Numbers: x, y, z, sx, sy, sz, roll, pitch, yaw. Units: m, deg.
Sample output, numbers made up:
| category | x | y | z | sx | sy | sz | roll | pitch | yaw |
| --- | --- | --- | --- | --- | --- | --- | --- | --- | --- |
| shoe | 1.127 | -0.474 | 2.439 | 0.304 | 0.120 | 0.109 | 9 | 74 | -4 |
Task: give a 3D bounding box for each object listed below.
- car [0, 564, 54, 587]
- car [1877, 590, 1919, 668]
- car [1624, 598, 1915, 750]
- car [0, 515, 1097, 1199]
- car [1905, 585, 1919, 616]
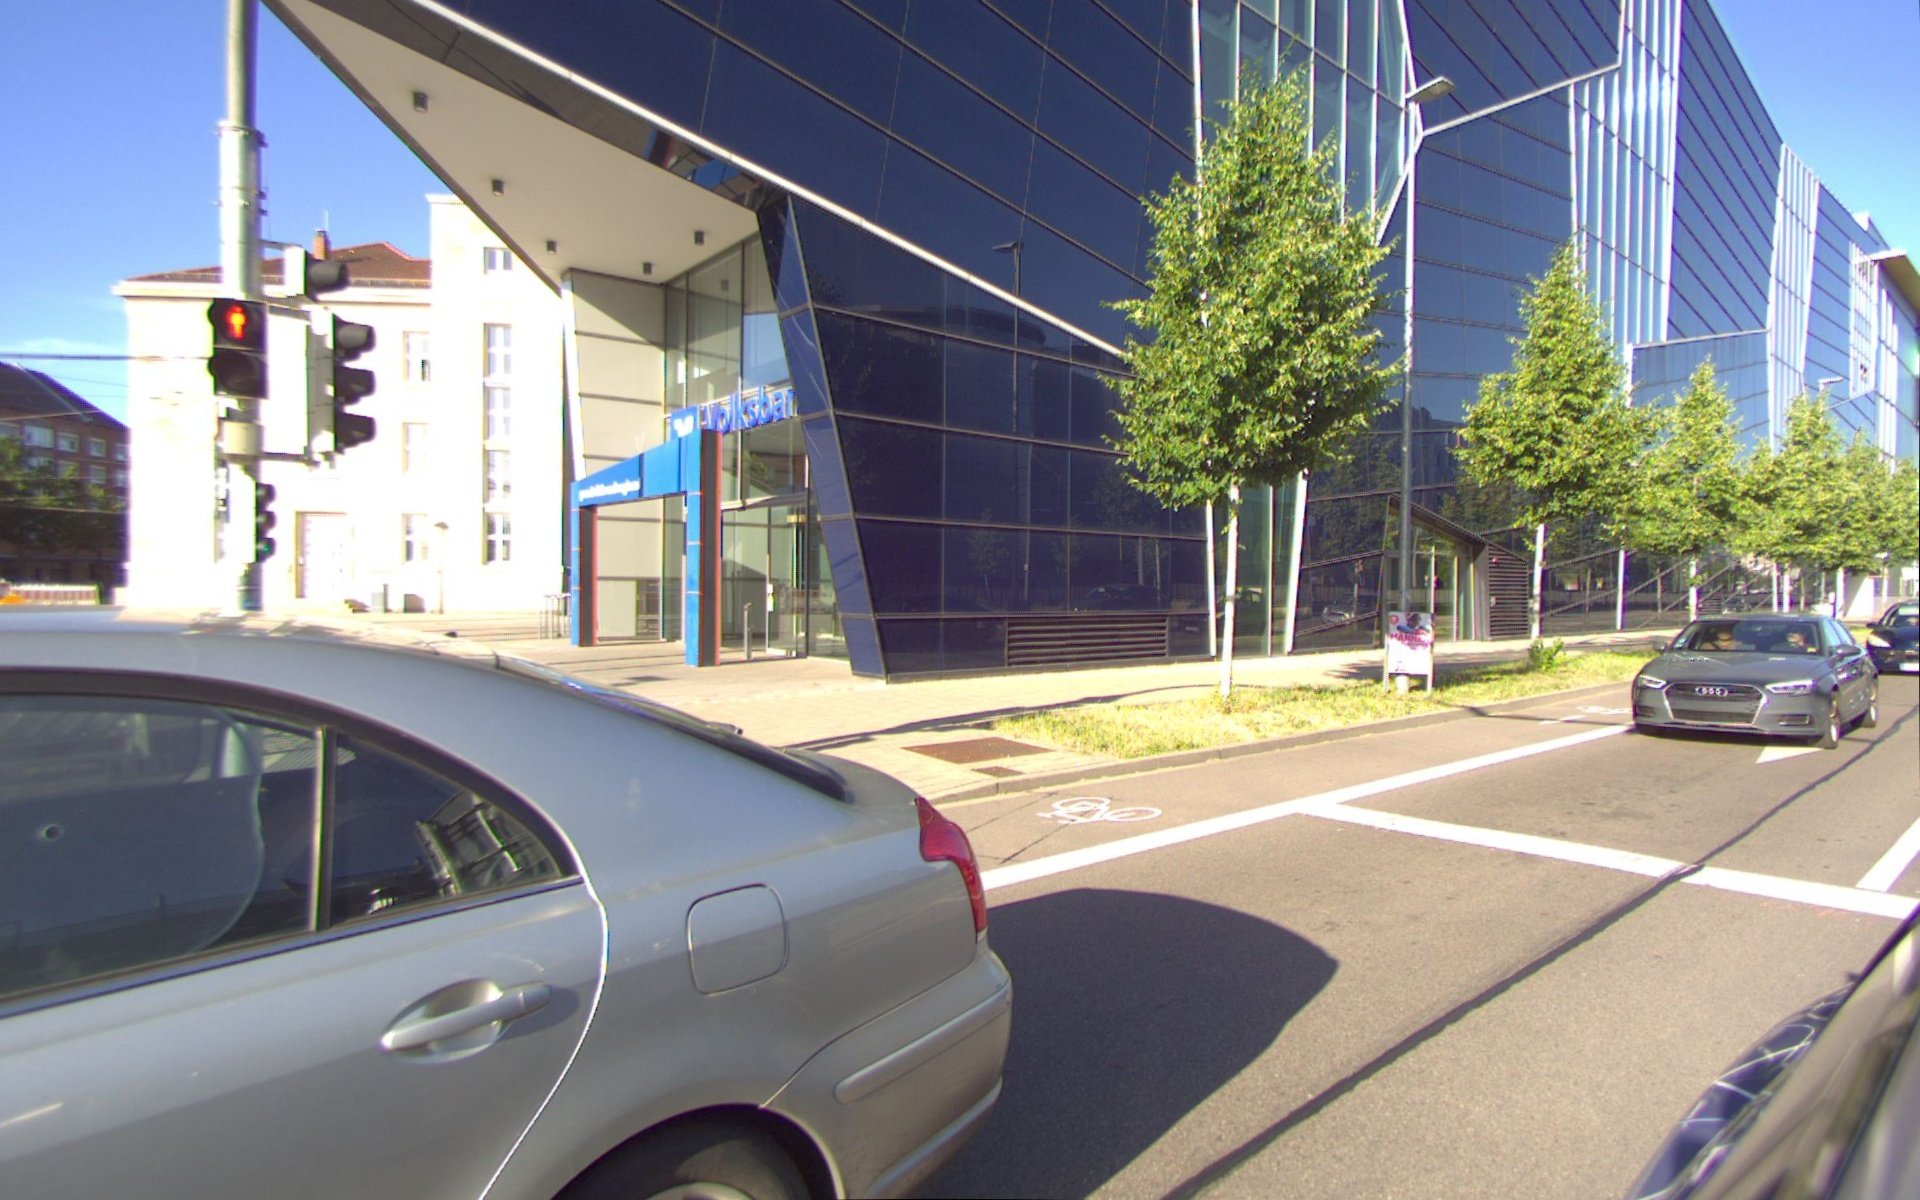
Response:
| category | x | y | z | sx | sy | sz | roll | pitch | yaw |
| --- | --- | --- | --- | --- | --- | --- | --- | --- | --- |
| car | -74.174 | -1.937 | 79.764 | 3.925 | 1.793 | 2.000 | -2 | 3 | -36 |
| car | 19.985 | 0.537 | 20.399 | 3.902 | 1.497 | 1.752 | 0 | 0 | -40 |
| car | 9.500 | 0.707 | 11.771 | 4.187 | 1.409 | 1.750 | -1 | 1 | -38 |
| car | -1.940 | 0.655 | 1.369 | 4.550 | 1.500 | 1.748 | -1 | 2 | -43 |
| car | 49.592 | 0.028 | 51.427 | 4.632 | 1.516 | 1.739 | 0 | 3 | -41 |
